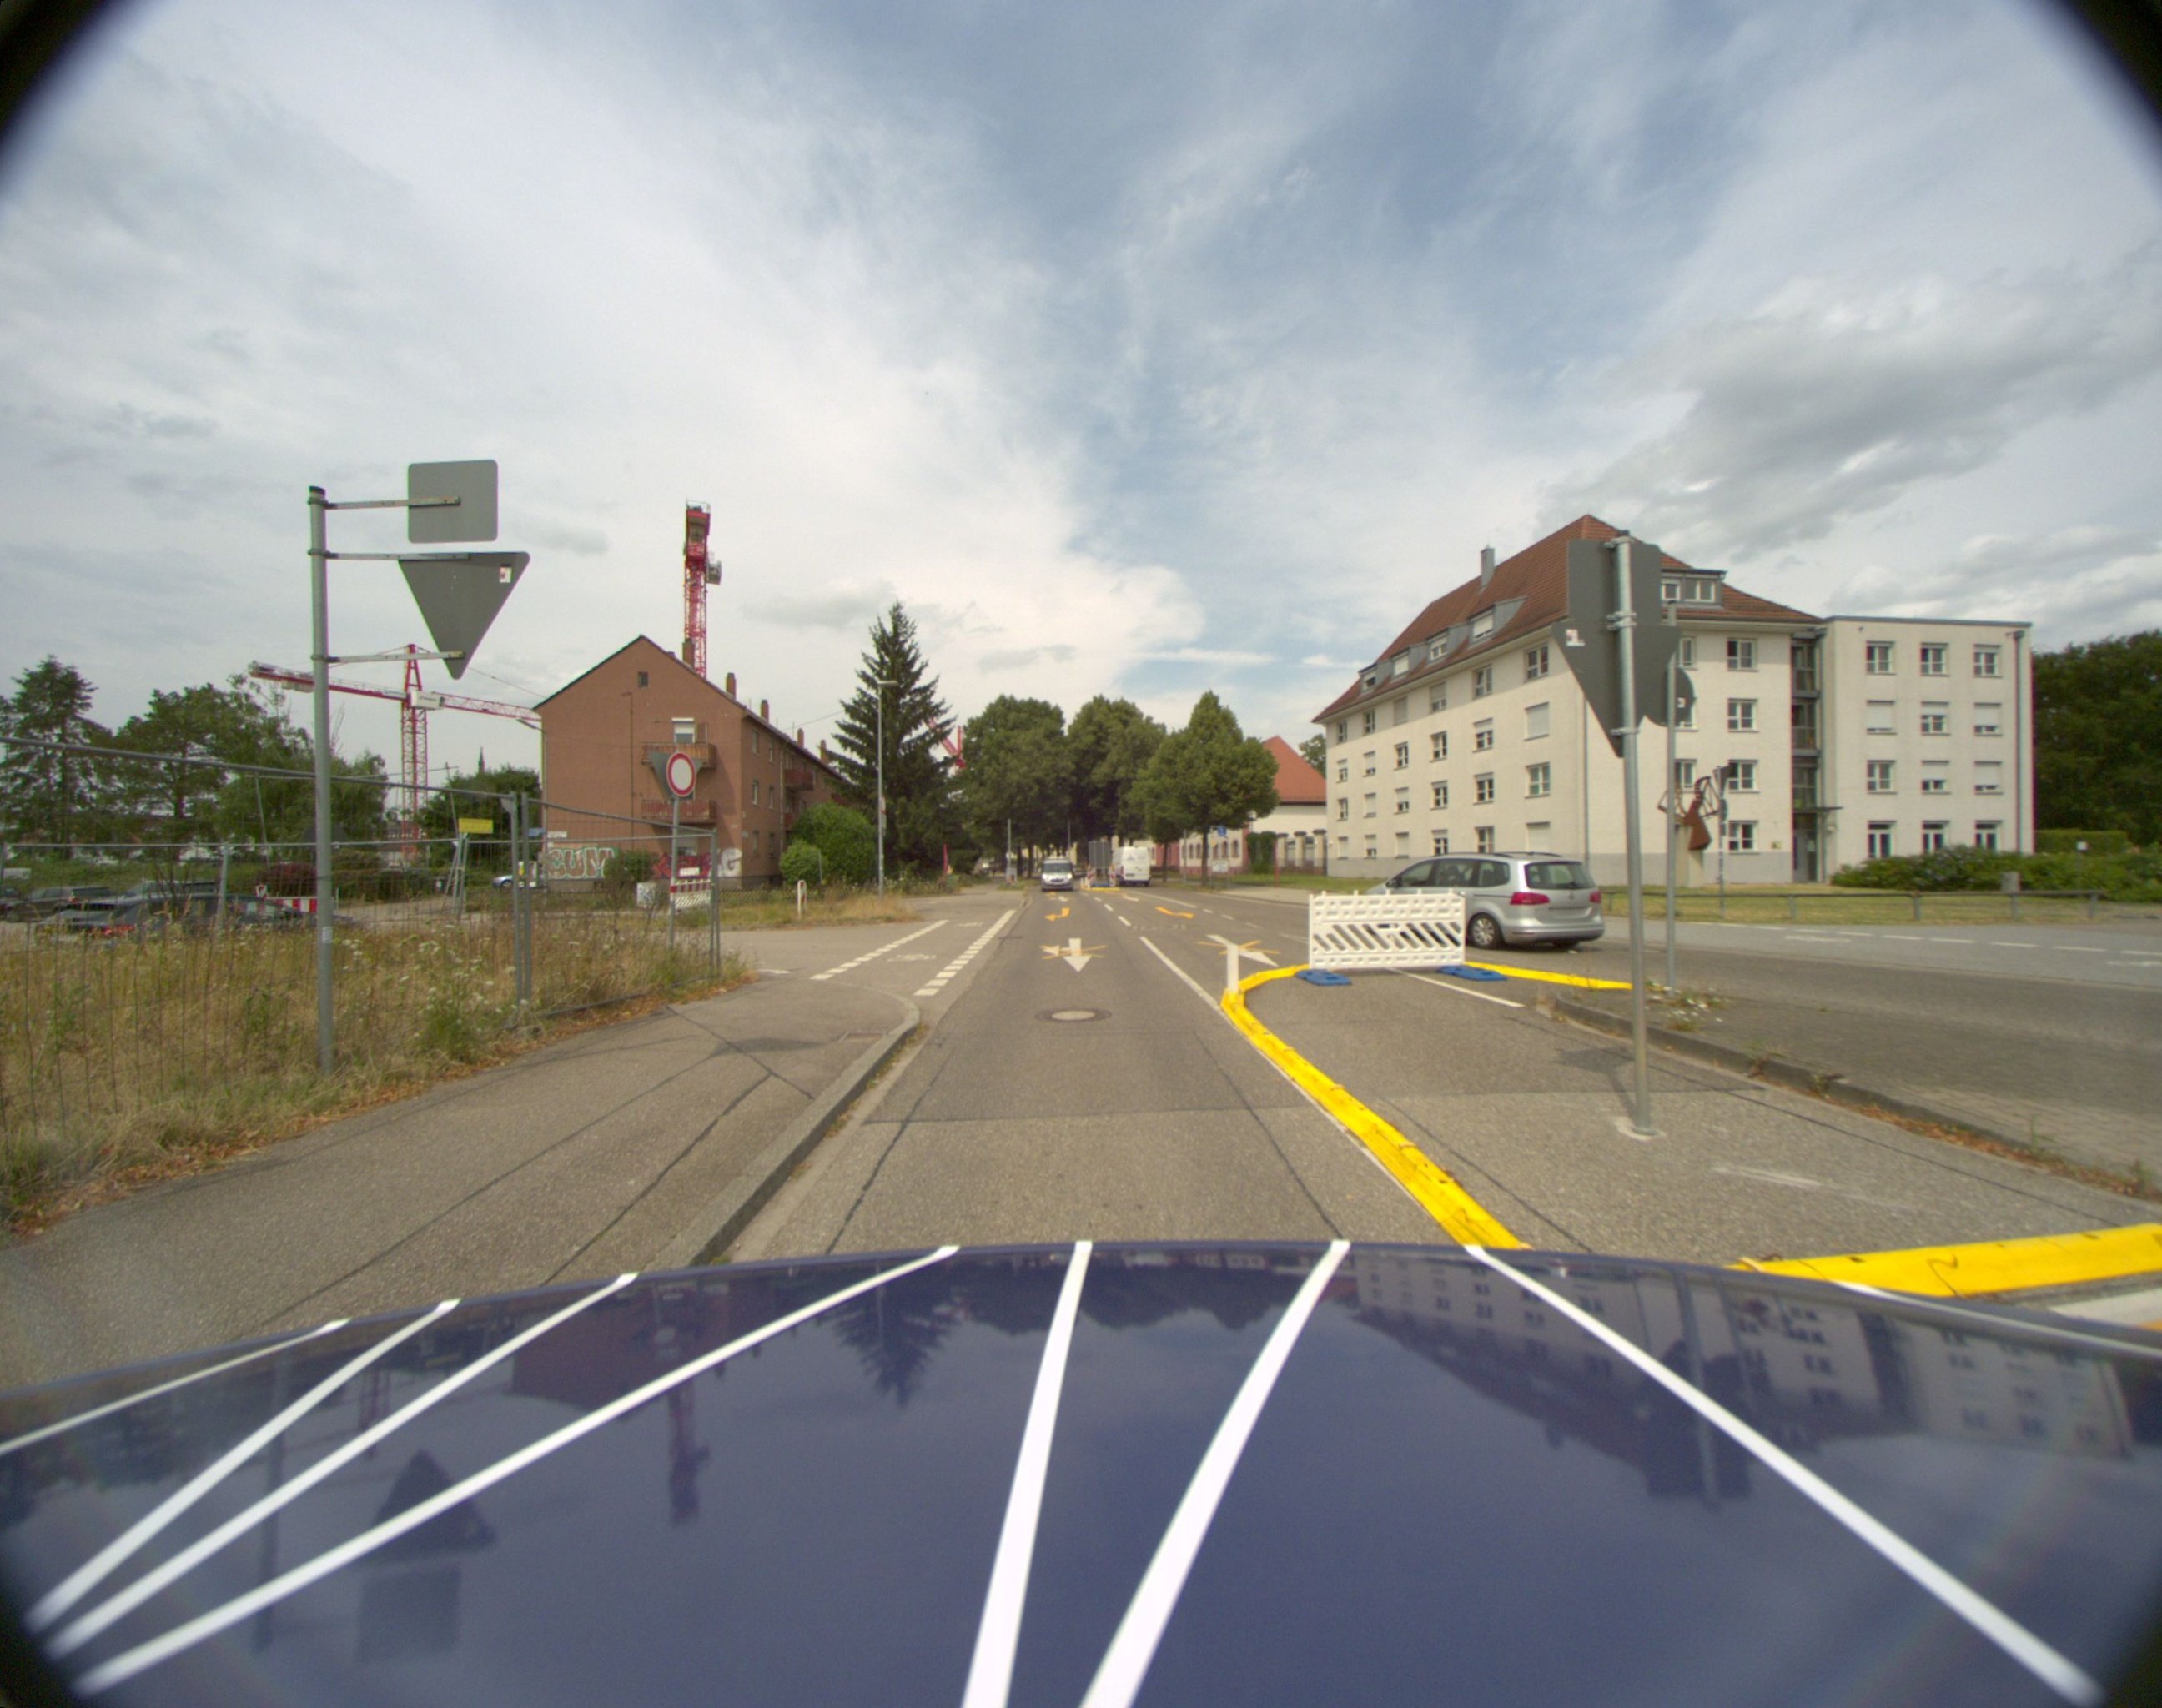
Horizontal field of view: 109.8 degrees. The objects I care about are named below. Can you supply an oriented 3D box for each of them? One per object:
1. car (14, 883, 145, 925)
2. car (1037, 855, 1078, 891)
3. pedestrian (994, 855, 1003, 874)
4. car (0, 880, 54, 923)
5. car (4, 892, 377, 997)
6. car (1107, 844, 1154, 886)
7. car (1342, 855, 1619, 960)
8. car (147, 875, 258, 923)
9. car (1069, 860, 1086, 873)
[{"bbox_3d":[-41.574,2.043,31.571,4.006,1.593,1.804,-1,0,13],"label":"car"},{"bbox_3d":[-1.413,1.039,43.615,1.811,1.936,4.580,-1,0,-9],"label":"car"},{"bbox_3d":[-8.925,1.130,82.381,0.855,2.002,0.732,-1,0,-2],"label":"pedestrian"},{"bbox_3d":[-46.609,2.003,32.398,4.006,1.739,1.859,-1,0,12],"label":"car"},{"bbox_3d":[-16.142,1.546,14.200,1.765,1.465,4.261,-1,0,5],"label":"car"},{"bbox_3d":[3.291,0.740,51.987,2.071,2.669,5.966,-1,0,-8],"label":"car"},{"bbox_3d":[7.151,0.866,14.295,1.803,1.613,4.741,-1,-1,-16],"label":"car"},{"bbox_3d":[-36.154,1.821,31.275,3.990,1.838,1.805,-1,0,22],"label":"car"},{"bbox_3d":[-0.472,1.409,87.676,1.677,1.402,3.919,-1,0,-5],"label":"car"}]
